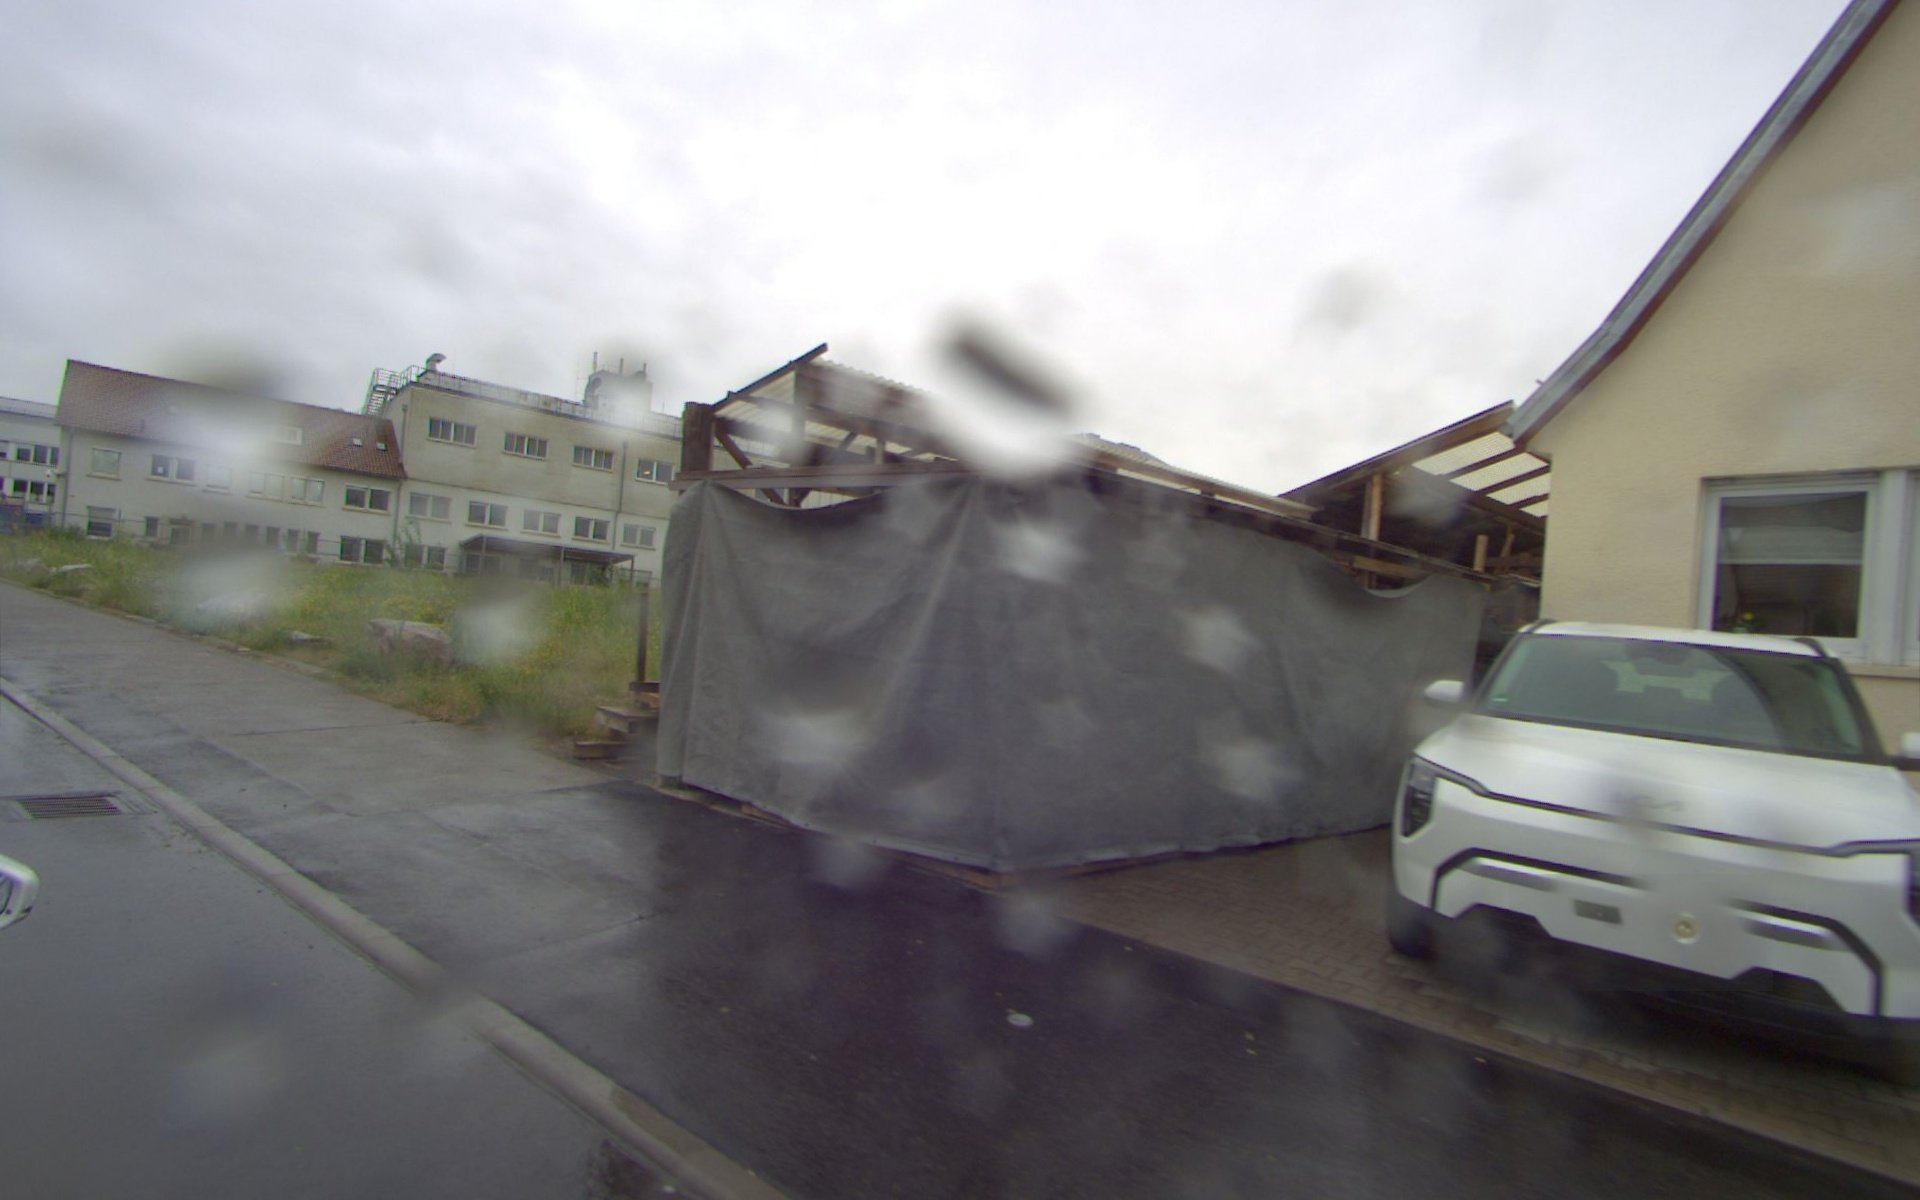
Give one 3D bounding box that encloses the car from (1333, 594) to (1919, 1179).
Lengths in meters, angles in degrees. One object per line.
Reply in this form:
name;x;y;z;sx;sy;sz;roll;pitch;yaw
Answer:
car;3.493;0.951;5.107;1.833;1.630;4.214;4;0;36
